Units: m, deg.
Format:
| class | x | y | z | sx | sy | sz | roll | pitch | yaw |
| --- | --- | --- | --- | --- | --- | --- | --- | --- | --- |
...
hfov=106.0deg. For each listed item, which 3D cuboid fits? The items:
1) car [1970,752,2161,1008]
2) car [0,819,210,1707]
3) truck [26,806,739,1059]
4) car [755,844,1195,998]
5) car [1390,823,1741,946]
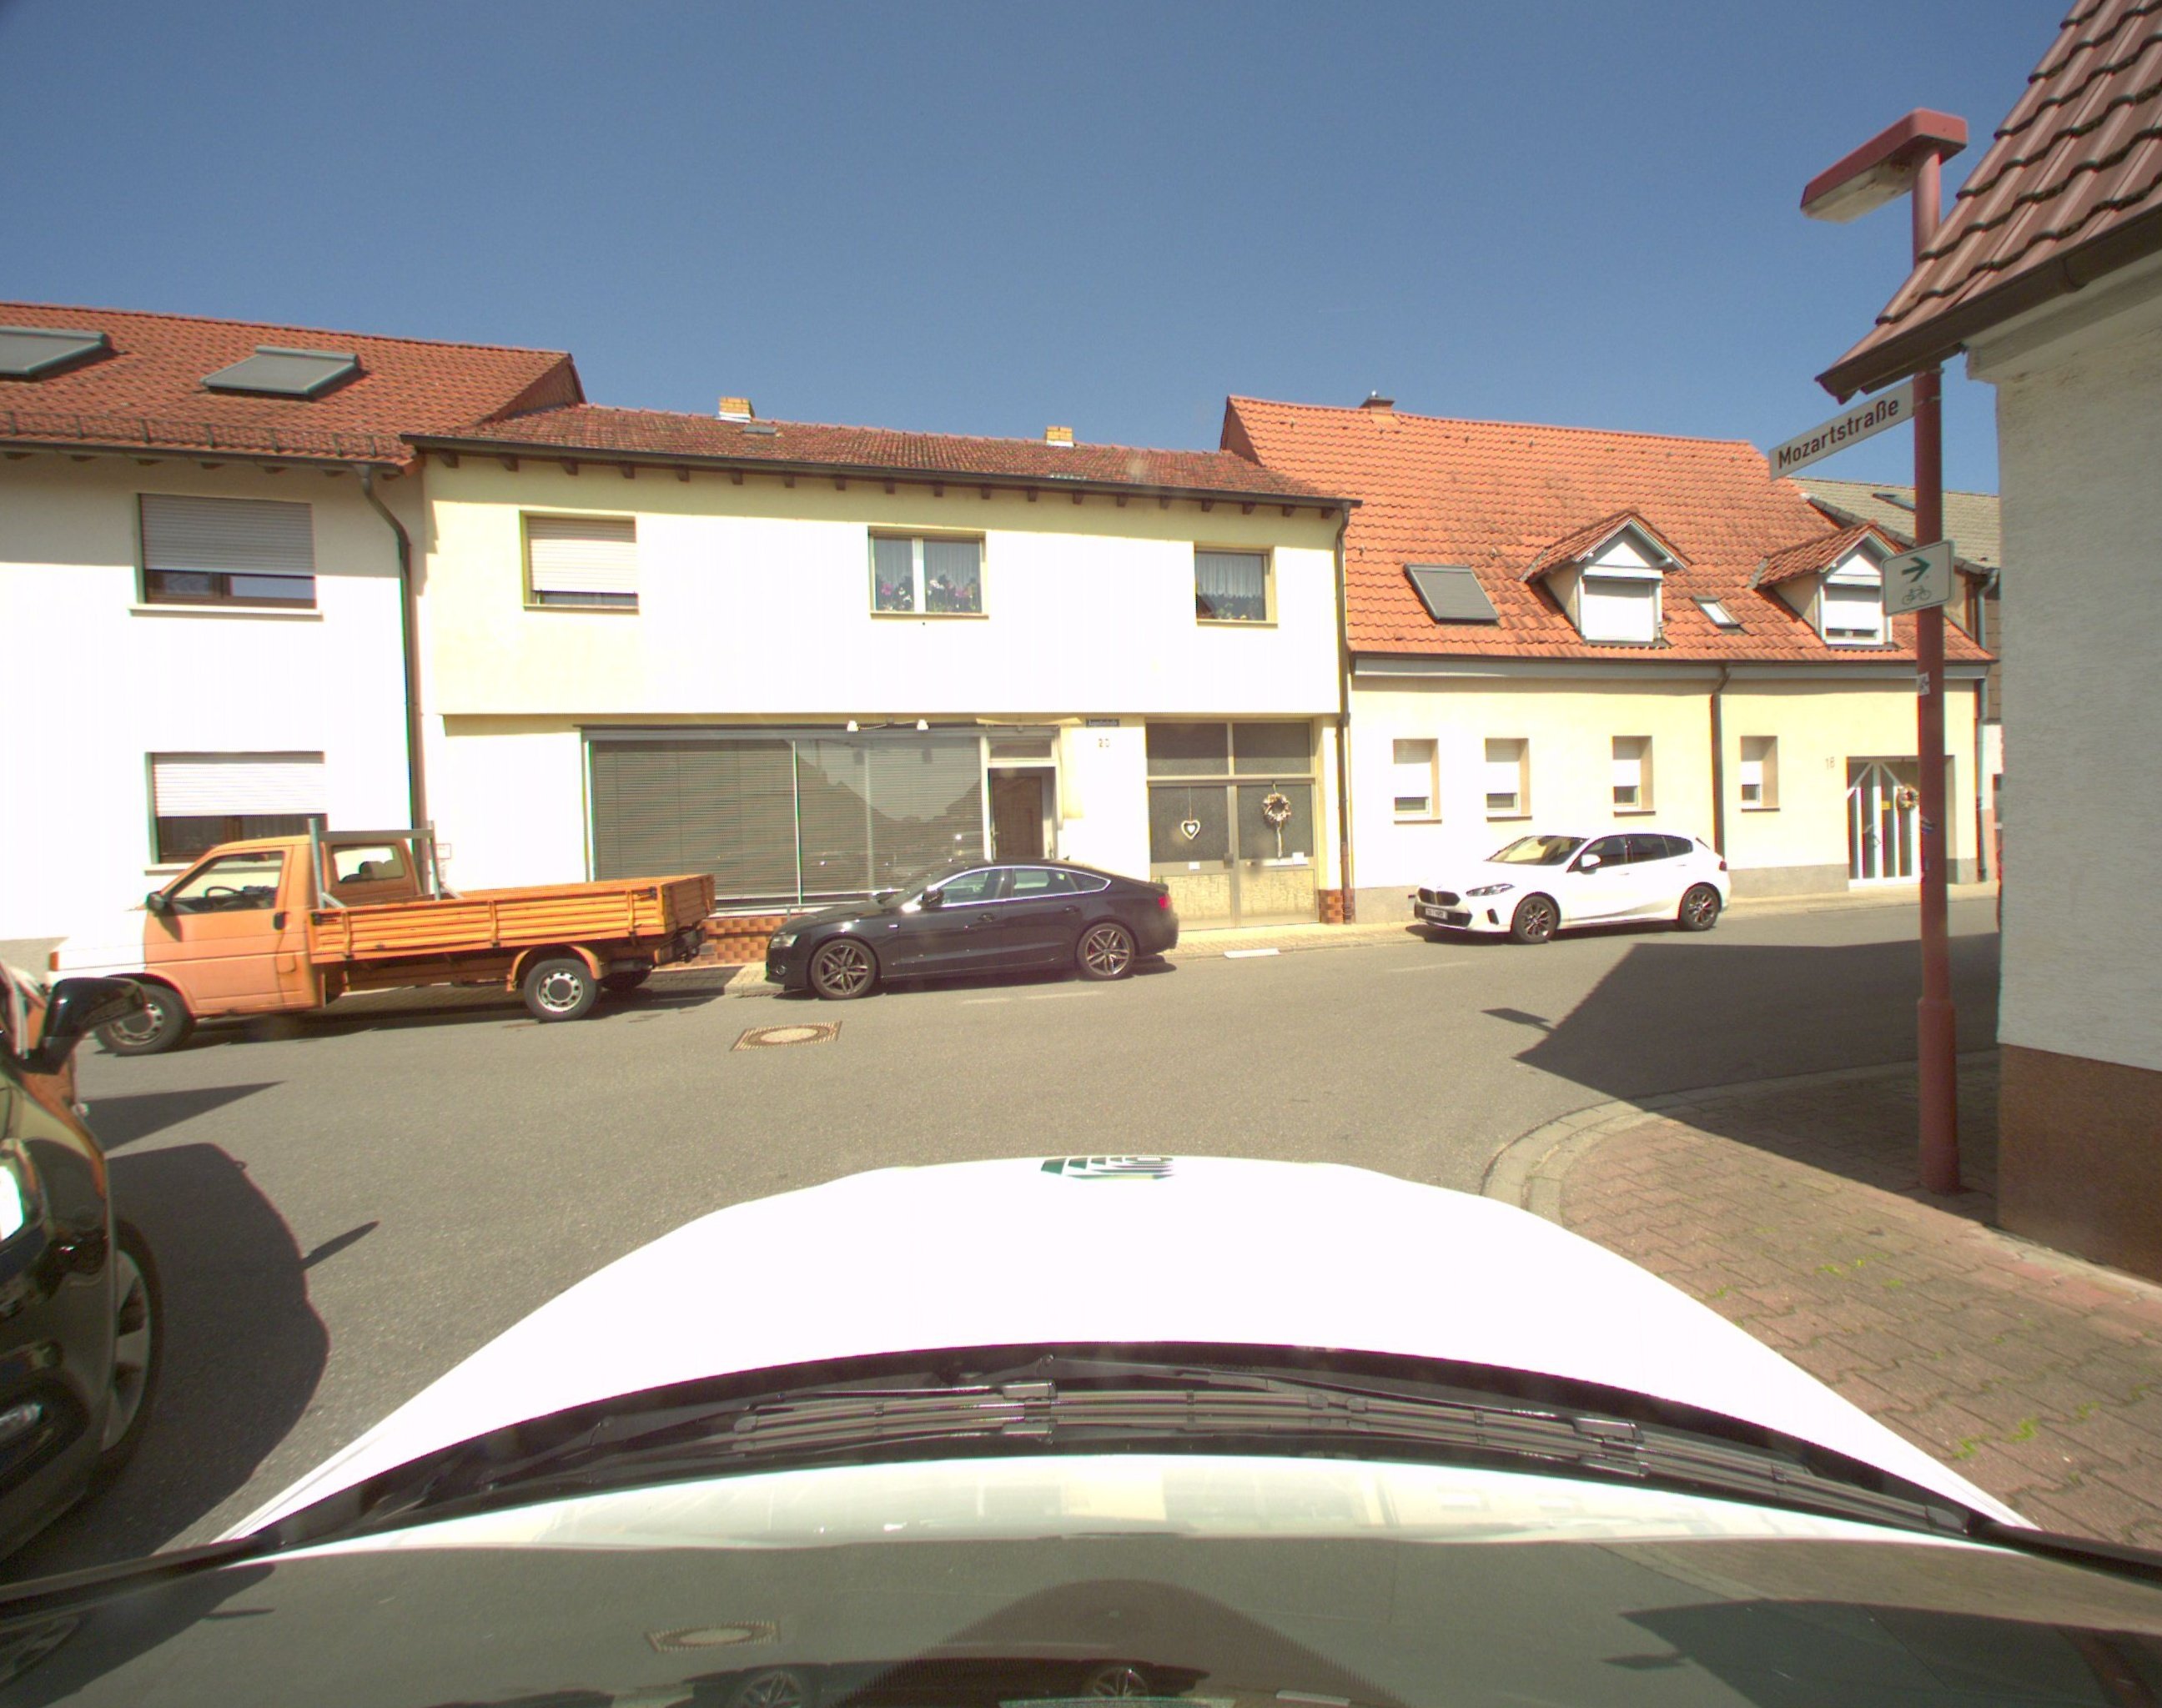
| class | x | y | z | sx | sy | sz | roll | pitch | yaw |
| --- | --- | --- | --- | --- | --- | --- | --- | --- | --- |
| car | 10.012 | 0.108 | 6.566 | 4.843 | 1.824 | 1.807 | -2 | 2 | -15 |
| car | -3.930 | 0.827 | 2.165 | 4.225 | 1.582 | 1.774 | -2 | 2 | 38 |
| truck | -6.505 | 0.621 | 8.400 | 5.067 | 2.013 | 2.181 | -2 | 0 | -12 |
| car | -1.191 | 0.702 | 9.590 | 4.622 | 1.394 | 1.919 | -2 | -2 | -13 |
| car | 6.834 | 0.370 | 11.645 | 4.204 | 1.454 | 1.781 | -2 | 0 | -12 |
